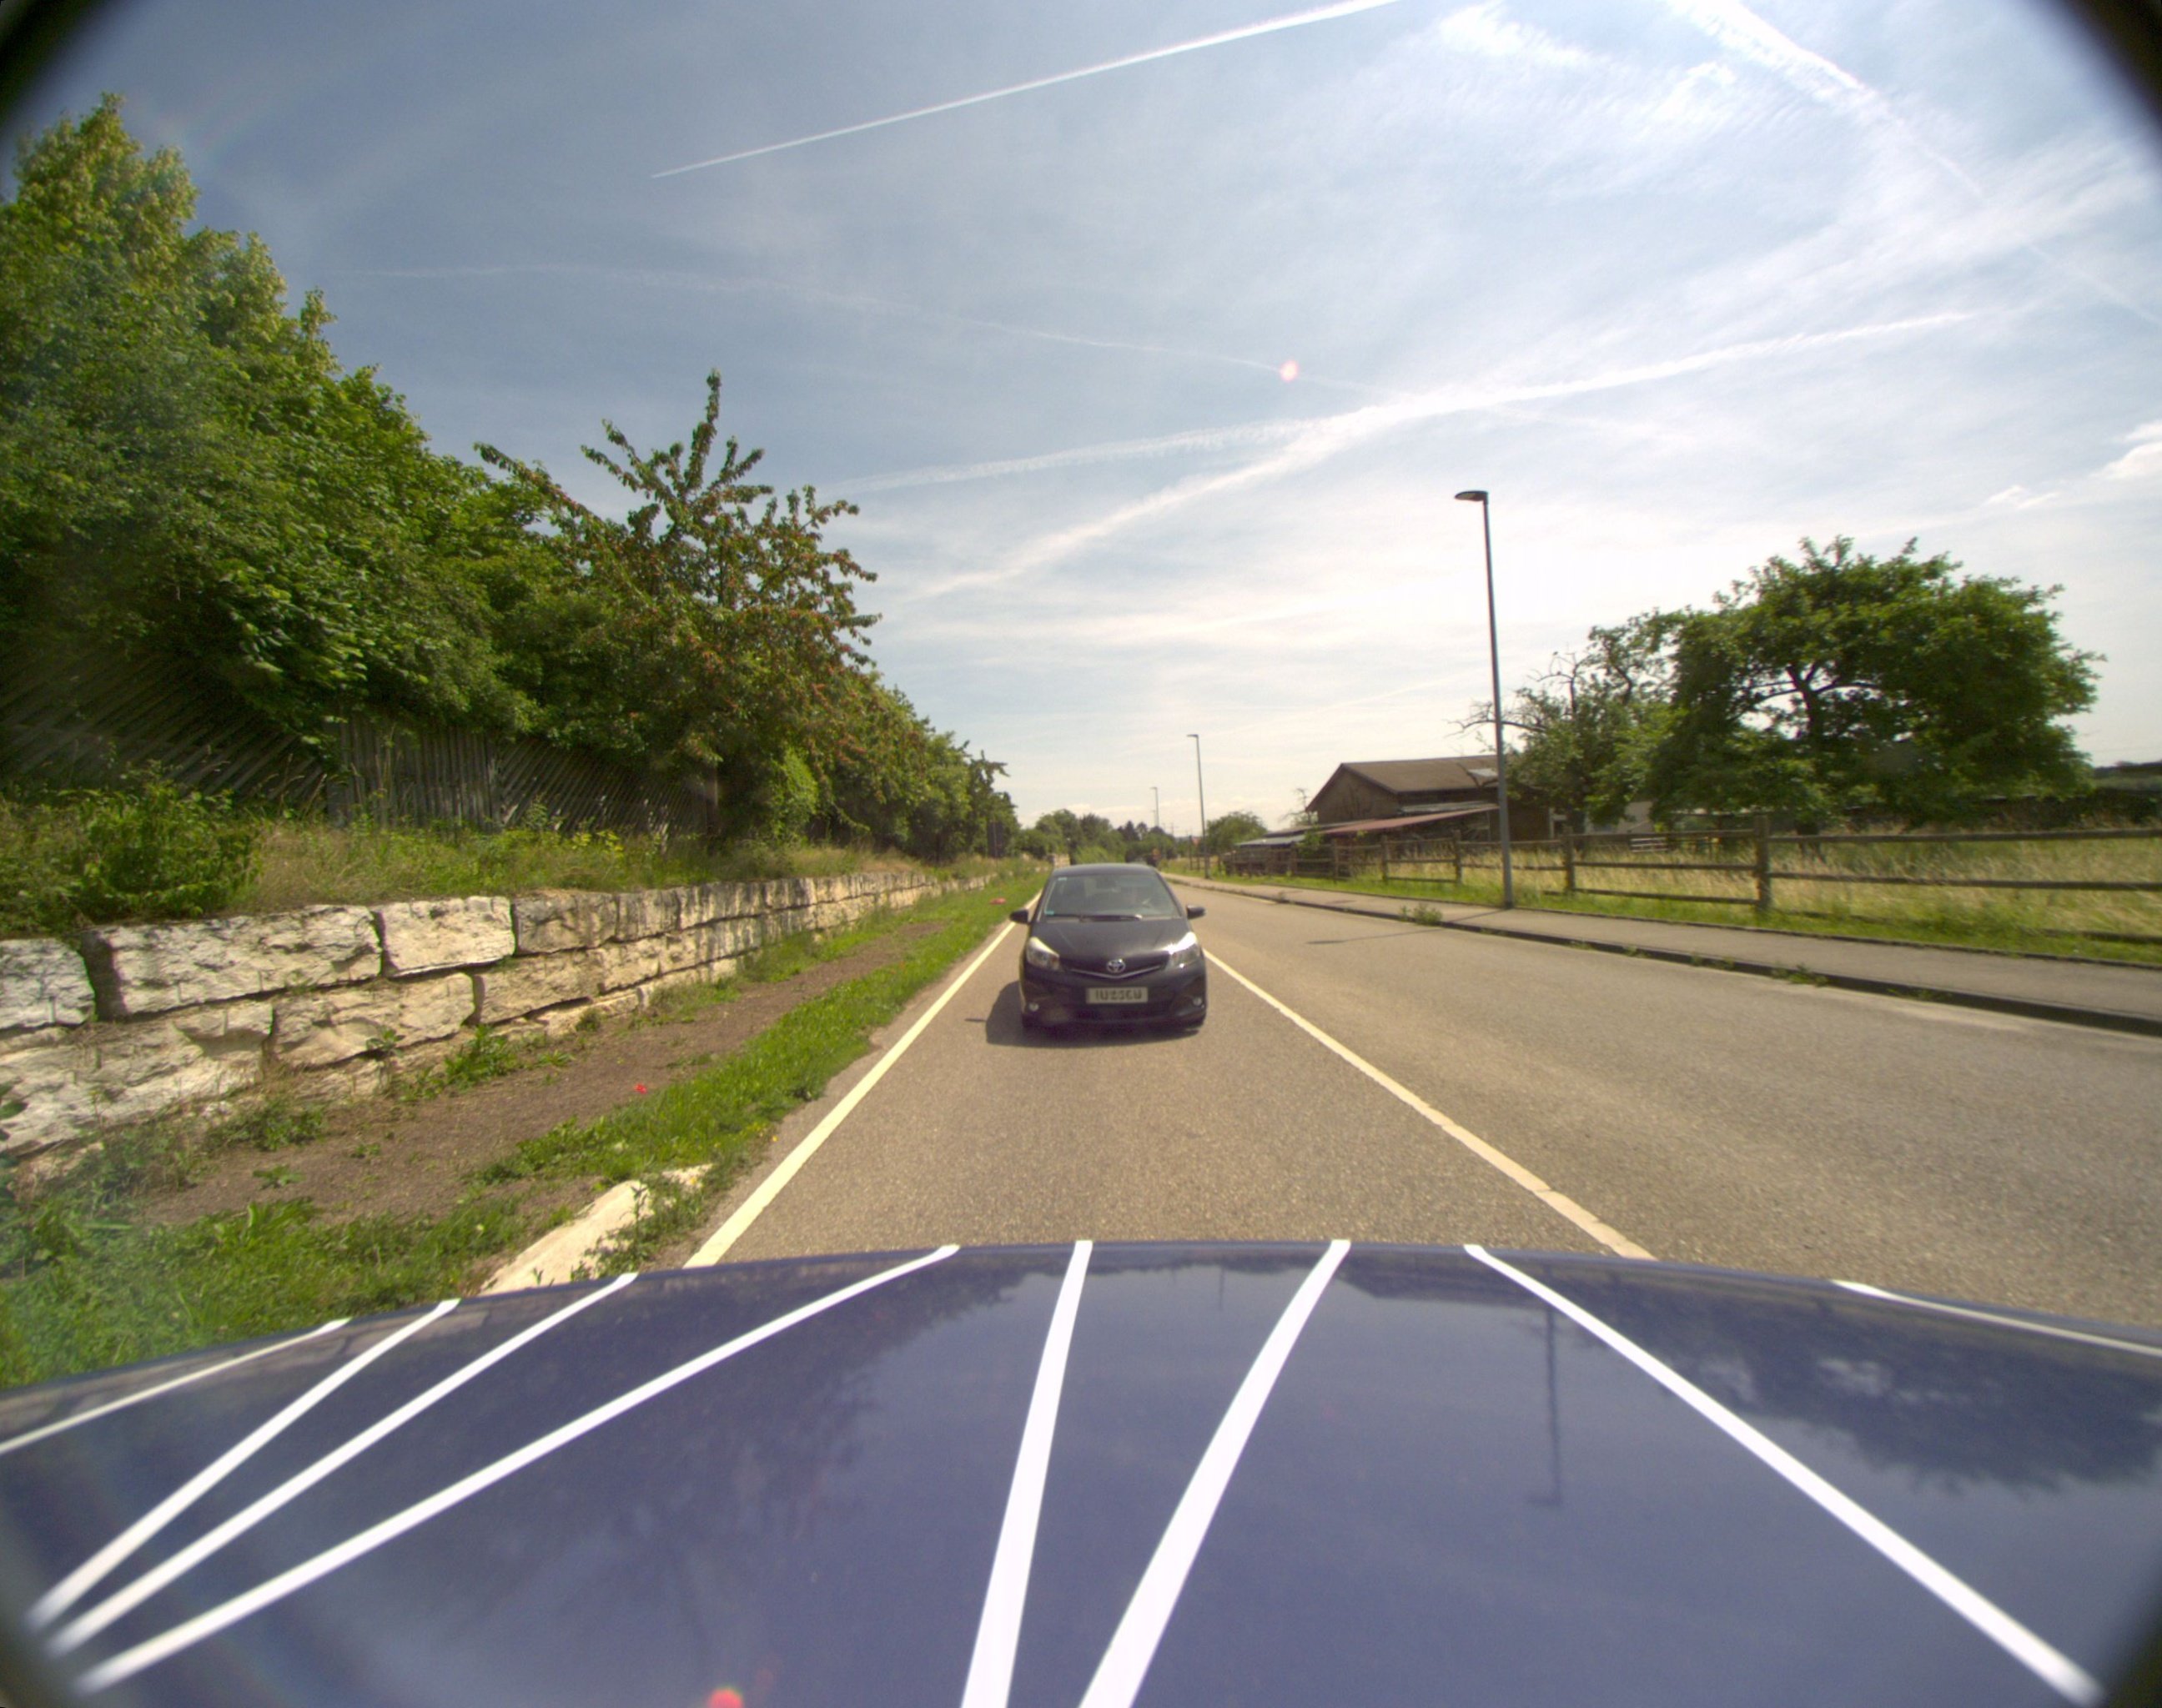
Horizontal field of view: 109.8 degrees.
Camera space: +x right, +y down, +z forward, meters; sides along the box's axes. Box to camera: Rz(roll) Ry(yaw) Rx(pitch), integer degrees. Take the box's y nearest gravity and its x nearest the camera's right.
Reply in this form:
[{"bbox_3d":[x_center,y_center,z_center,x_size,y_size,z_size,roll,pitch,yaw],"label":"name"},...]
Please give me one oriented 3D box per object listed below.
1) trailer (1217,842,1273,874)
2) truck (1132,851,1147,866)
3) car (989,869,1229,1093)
[{"bbox_3d":[9.631,0.228,44.953,2.160,1.693,5.029,-2,0,0],"label":"trailer"},{"bbox_3d":[9.672,0.732,125.774,2.227,2.280,6.494,-2,0,6],"label":"truck"},{"bbox_3d":[0.216,0.962,7.693,1.677,1.456,4.432,-2,0,0],"label":"car"}]
